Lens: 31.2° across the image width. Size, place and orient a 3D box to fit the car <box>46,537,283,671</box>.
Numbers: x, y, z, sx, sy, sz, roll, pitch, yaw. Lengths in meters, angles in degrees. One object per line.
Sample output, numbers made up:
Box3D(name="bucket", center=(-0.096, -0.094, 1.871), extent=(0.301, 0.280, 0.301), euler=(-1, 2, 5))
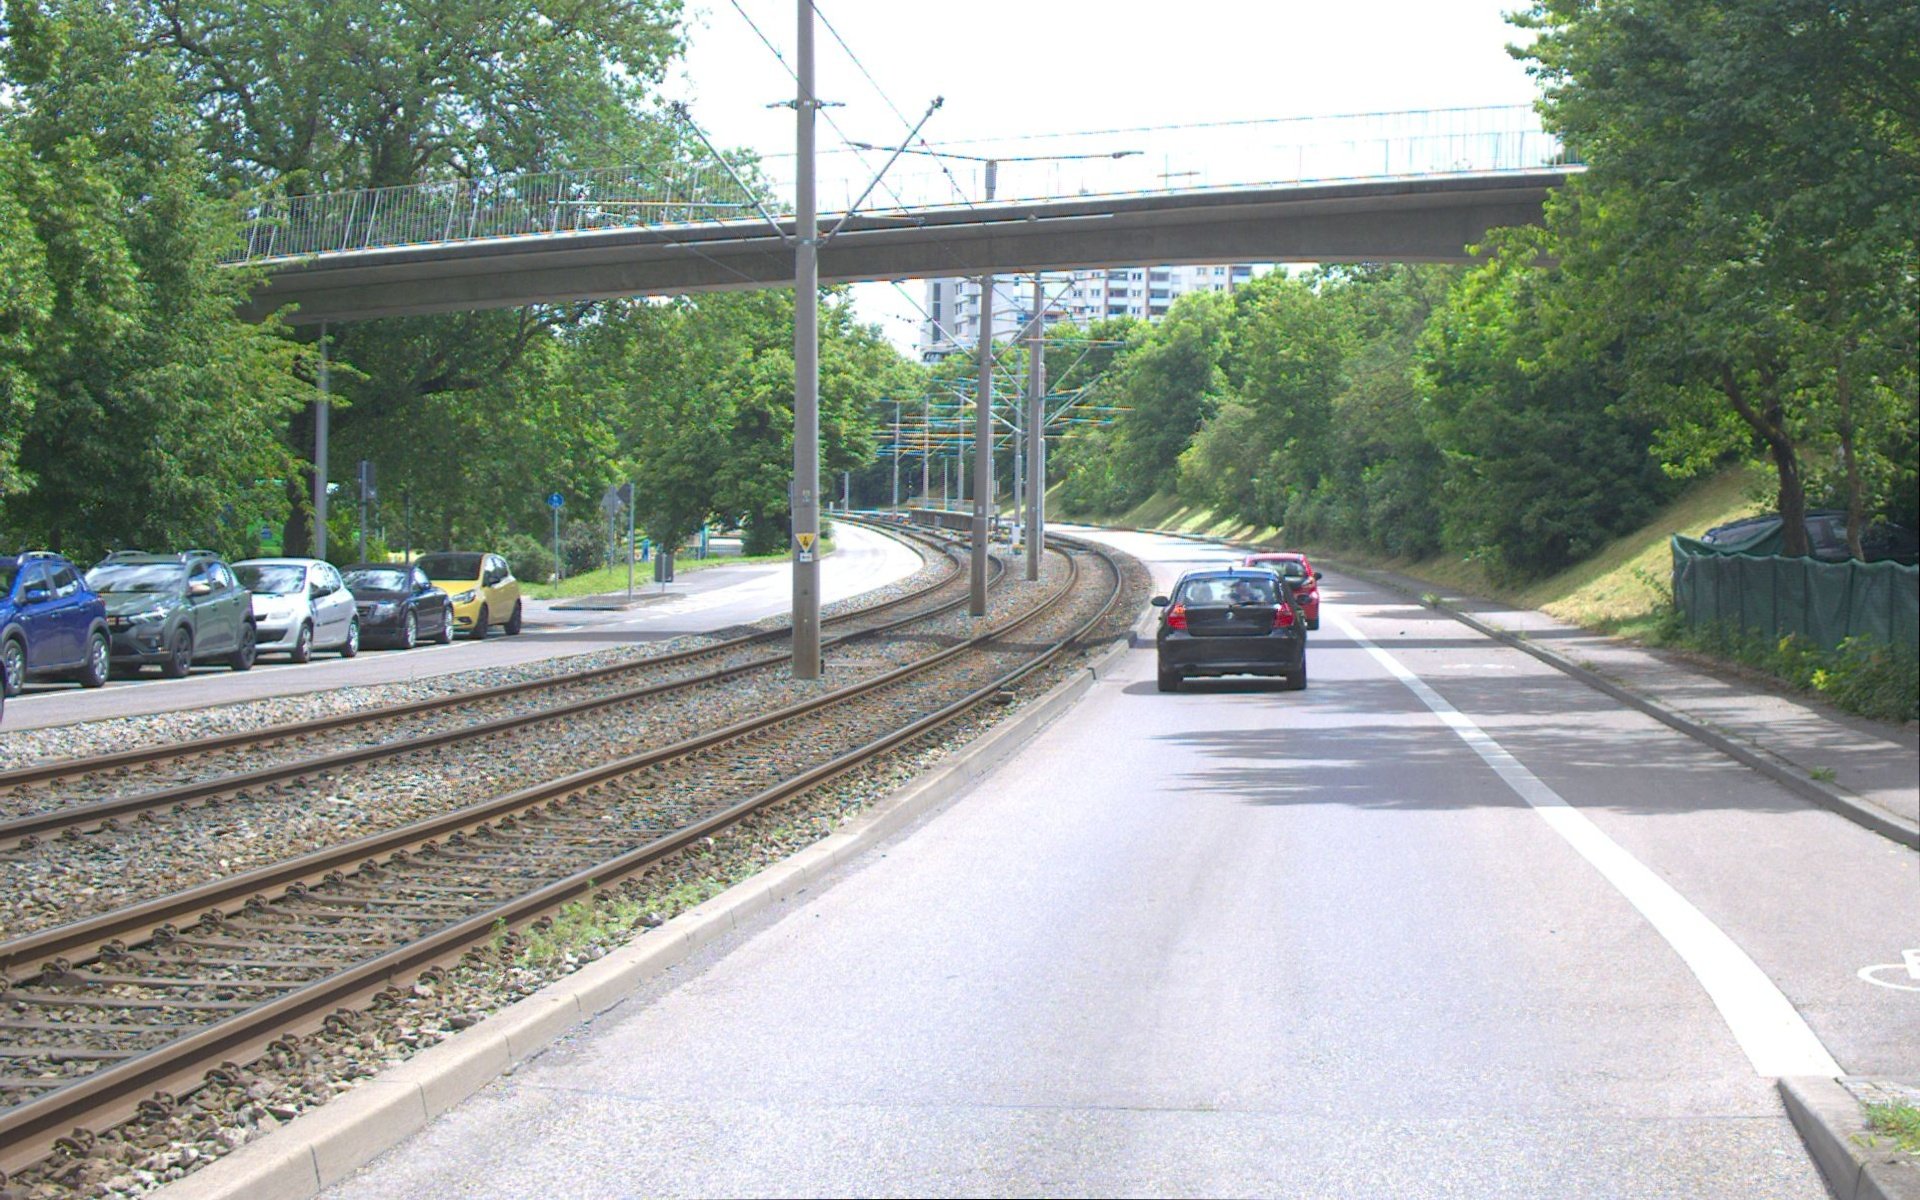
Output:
Box3D(name="car", center=(-10.053, 0.037, 43.727), extent=(1.643, 1.617, 4.124), euler=(0, 0, 7))

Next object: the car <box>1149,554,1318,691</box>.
Box3D(name="car", center=(3.268, 0.227, 40.545), extent=(1.709, 1.455, 3.959), euler=(3, 1, 8))

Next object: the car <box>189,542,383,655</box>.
Box3D(name="car", center=(-9.598, 0.007, 49.246), extent=(1.593, 1.489, 4.191), euler=(2, -1, 5))

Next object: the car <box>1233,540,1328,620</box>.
Box3D(name="car", center=(6.195, -0.370, 66.261), extent=(1.625, 1.438, 3.420), euler=(2, 0, 8))

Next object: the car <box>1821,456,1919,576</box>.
Box3D(name="car", center=(15.381, -1.346, 51.549), extent=(4.526, 1.666, 1.999), euler=(-4, -1, 9))

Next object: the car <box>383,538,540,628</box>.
Box3D(name="car", center=(-8.610, -0.269, 59.683), extent=(1.689, 1.445, 3.897), euler=(2, 0, 7))

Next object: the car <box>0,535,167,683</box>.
Box3D(name="car", center=(-10.616, 0.097, 39.507), extent=(1.557, 1.590, 4.159), euler=(2, 0, 7))

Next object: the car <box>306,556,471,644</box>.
Box3D(name="car", center=(-9.039, -0.014, 54.671), extent=(1.511, 1.356, 4.127), euler=(0, 0, 7))

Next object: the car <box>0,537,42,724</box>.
Box3D(name="car", center=(-8.968, 0.220, 27.804), extent=(1.613, 1.568, 3.999), euler=(2, 0, 6))
